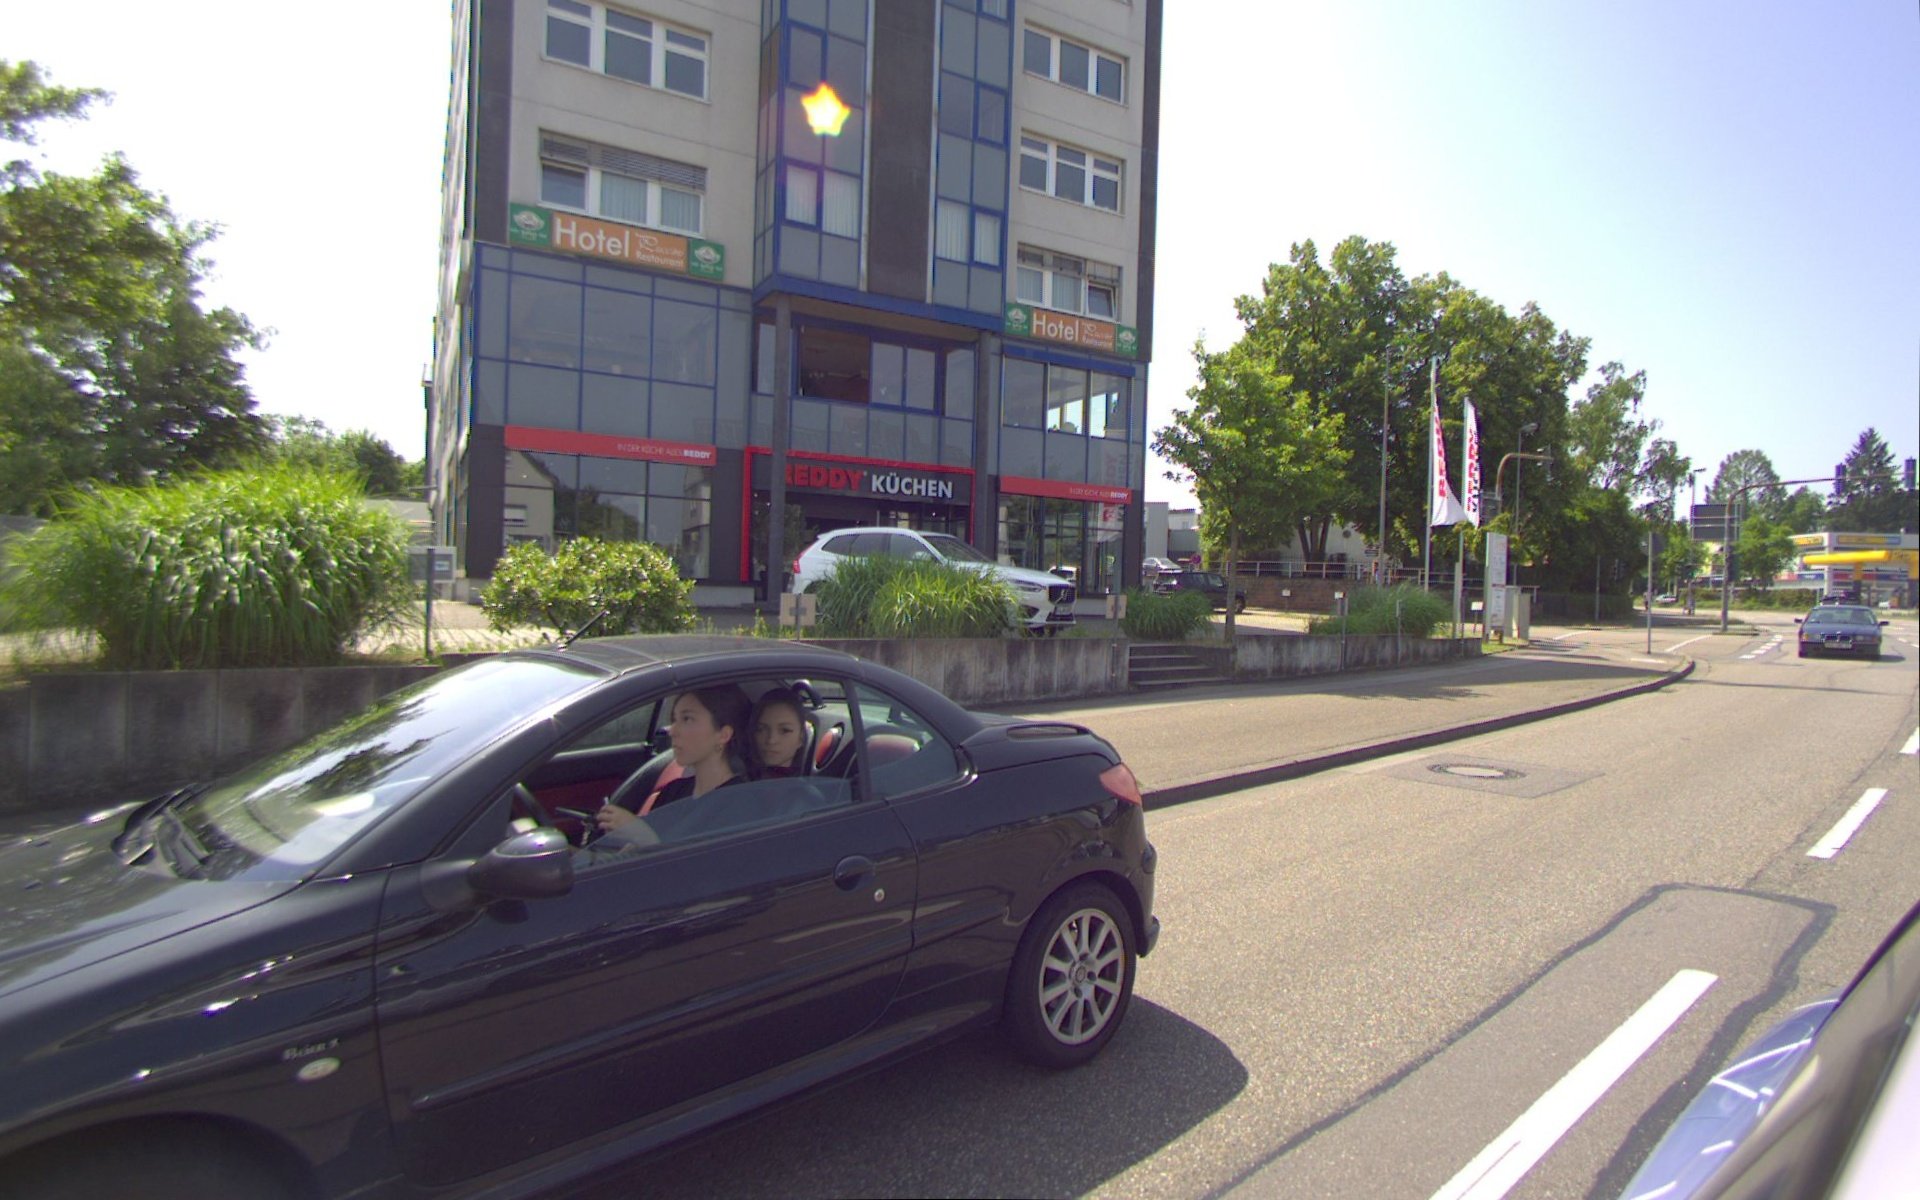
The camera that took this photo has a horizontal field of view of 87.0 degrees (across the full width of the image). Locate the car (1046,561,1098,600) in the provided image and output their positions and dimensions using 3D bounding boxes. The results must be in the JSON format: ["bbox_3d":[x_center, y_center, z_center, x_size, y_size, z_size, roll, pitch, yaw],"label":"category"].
[{"bbox_3d":[4.921,-0.854,44.089,1.522,1.552,4.203,-1,1,17],"label":"car"}]

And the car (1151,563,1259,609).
[{"bbox_3d":[9.572,-0.543,39.459,4.244,1.696,1.545,0,1,-32],"label":"car"}]

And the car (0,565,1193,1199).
[{"bbox_3d":[-1.053,0.700,2.905,3.599,1.443,1.601,1,-2,-43],"label":"car"}]

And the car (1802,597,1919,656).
[{"bbox_3d":[23.659,0.641,26.506,3.927,1.390,1.698,-1,1,-38],"label":"car"}]

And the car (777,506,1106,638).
[{"bbox_3d":[-0.349,-0.368,15.391,4.703,1.735,1.978,0,0,32],"label":"car"}]
